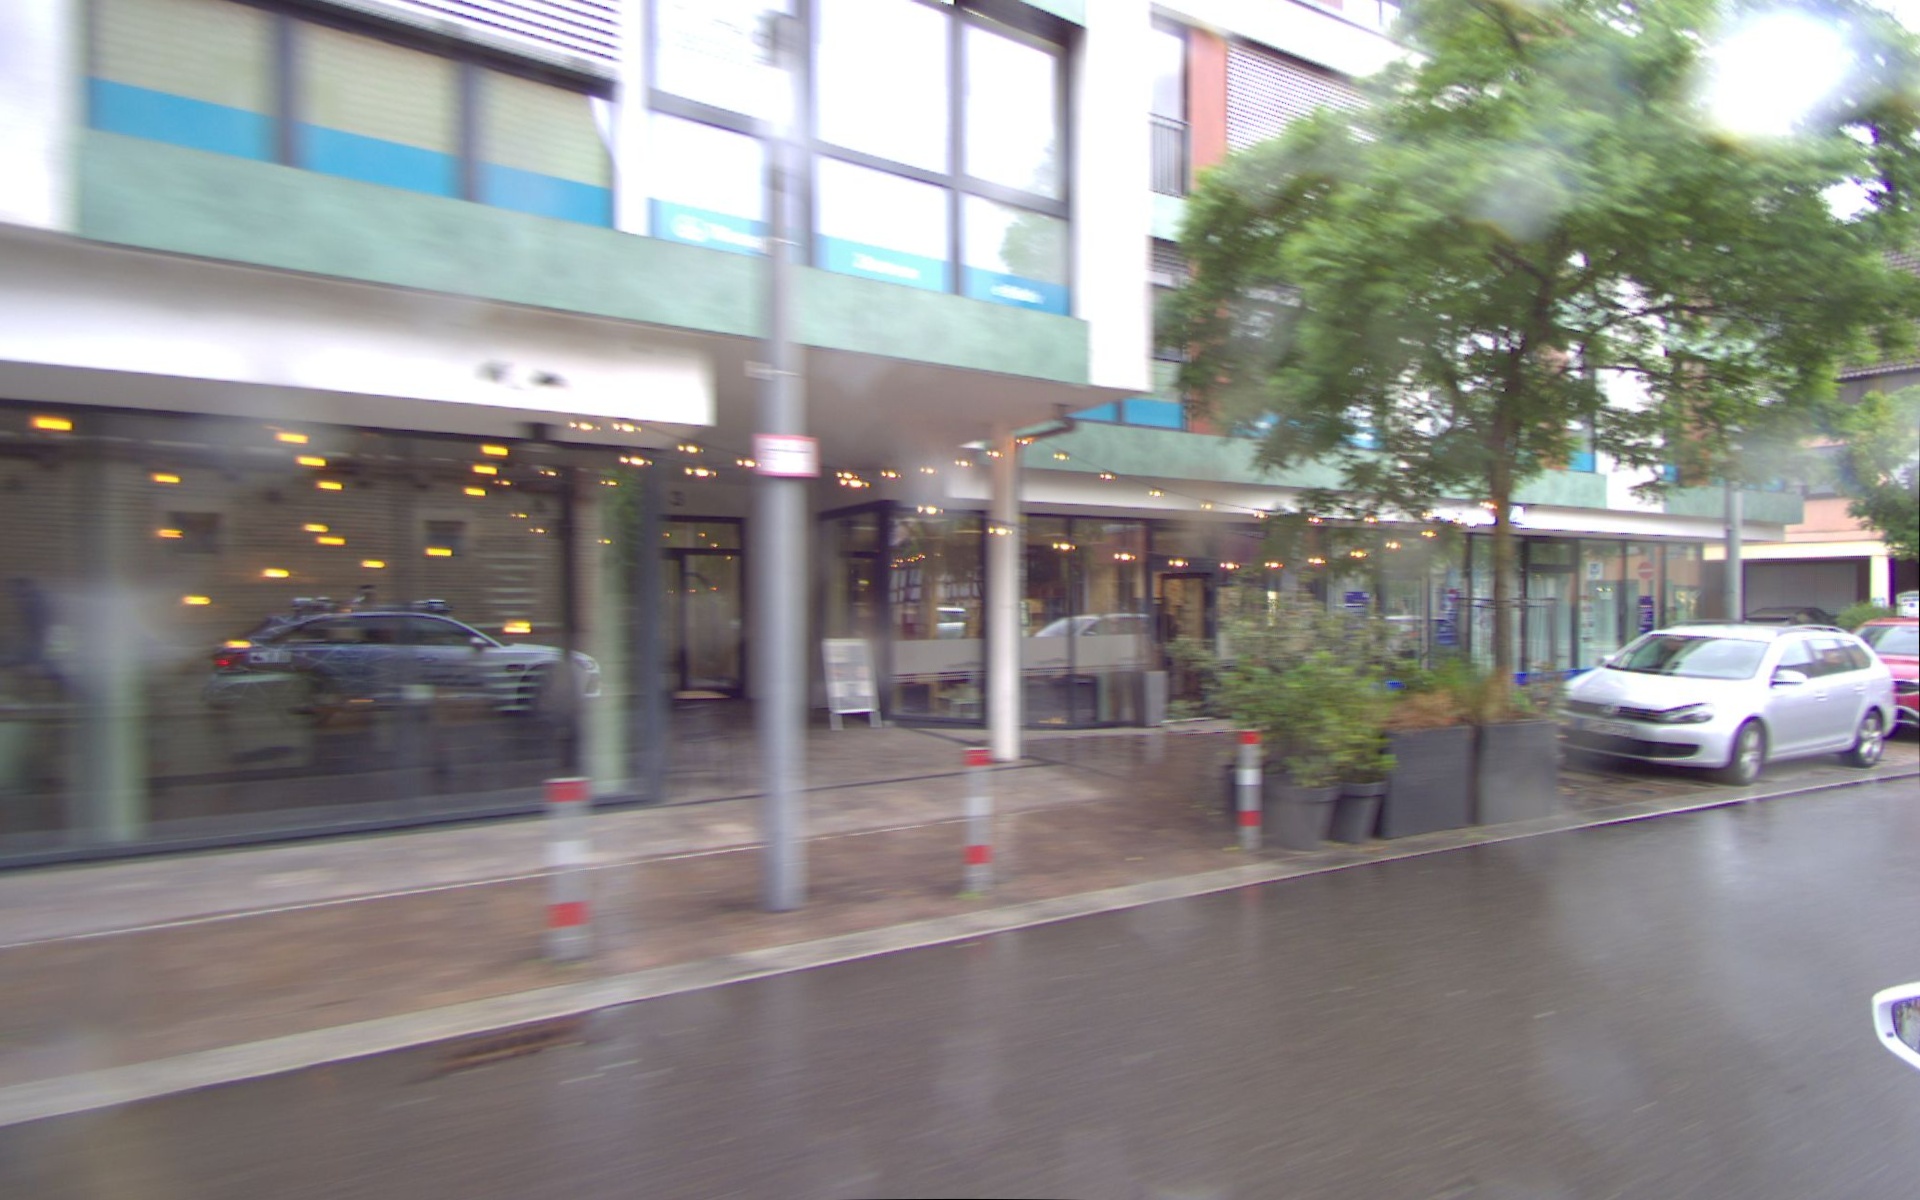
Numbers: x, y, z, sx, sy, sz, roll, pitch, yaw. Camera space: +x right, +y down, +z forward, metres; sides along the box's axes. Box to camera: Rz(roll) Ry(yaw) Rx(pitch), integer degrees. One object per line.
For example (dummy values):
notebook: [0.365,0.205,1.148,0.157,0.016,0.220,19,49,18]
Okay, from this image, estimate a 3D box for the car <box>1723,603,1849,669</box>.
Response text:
car: [25.189,1.030,30.616,3.955,1.640,1.802,-4,2,-32]

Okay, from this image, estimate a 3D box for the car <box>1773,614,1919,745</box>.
car: [13.172,1.010,13.774,4.057,1.597,1.779,1,-1,-29]

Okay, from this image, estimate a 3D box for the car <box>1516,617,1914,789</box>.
car: [8.121,0.960,10.728,4.400,1.518,1.779,1,-1,-29]

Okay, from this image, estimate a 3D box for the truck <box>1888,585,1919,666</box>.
truck: [27.790,0.668,28.461,3.162,2.090,1.586,-5,1,-36]
